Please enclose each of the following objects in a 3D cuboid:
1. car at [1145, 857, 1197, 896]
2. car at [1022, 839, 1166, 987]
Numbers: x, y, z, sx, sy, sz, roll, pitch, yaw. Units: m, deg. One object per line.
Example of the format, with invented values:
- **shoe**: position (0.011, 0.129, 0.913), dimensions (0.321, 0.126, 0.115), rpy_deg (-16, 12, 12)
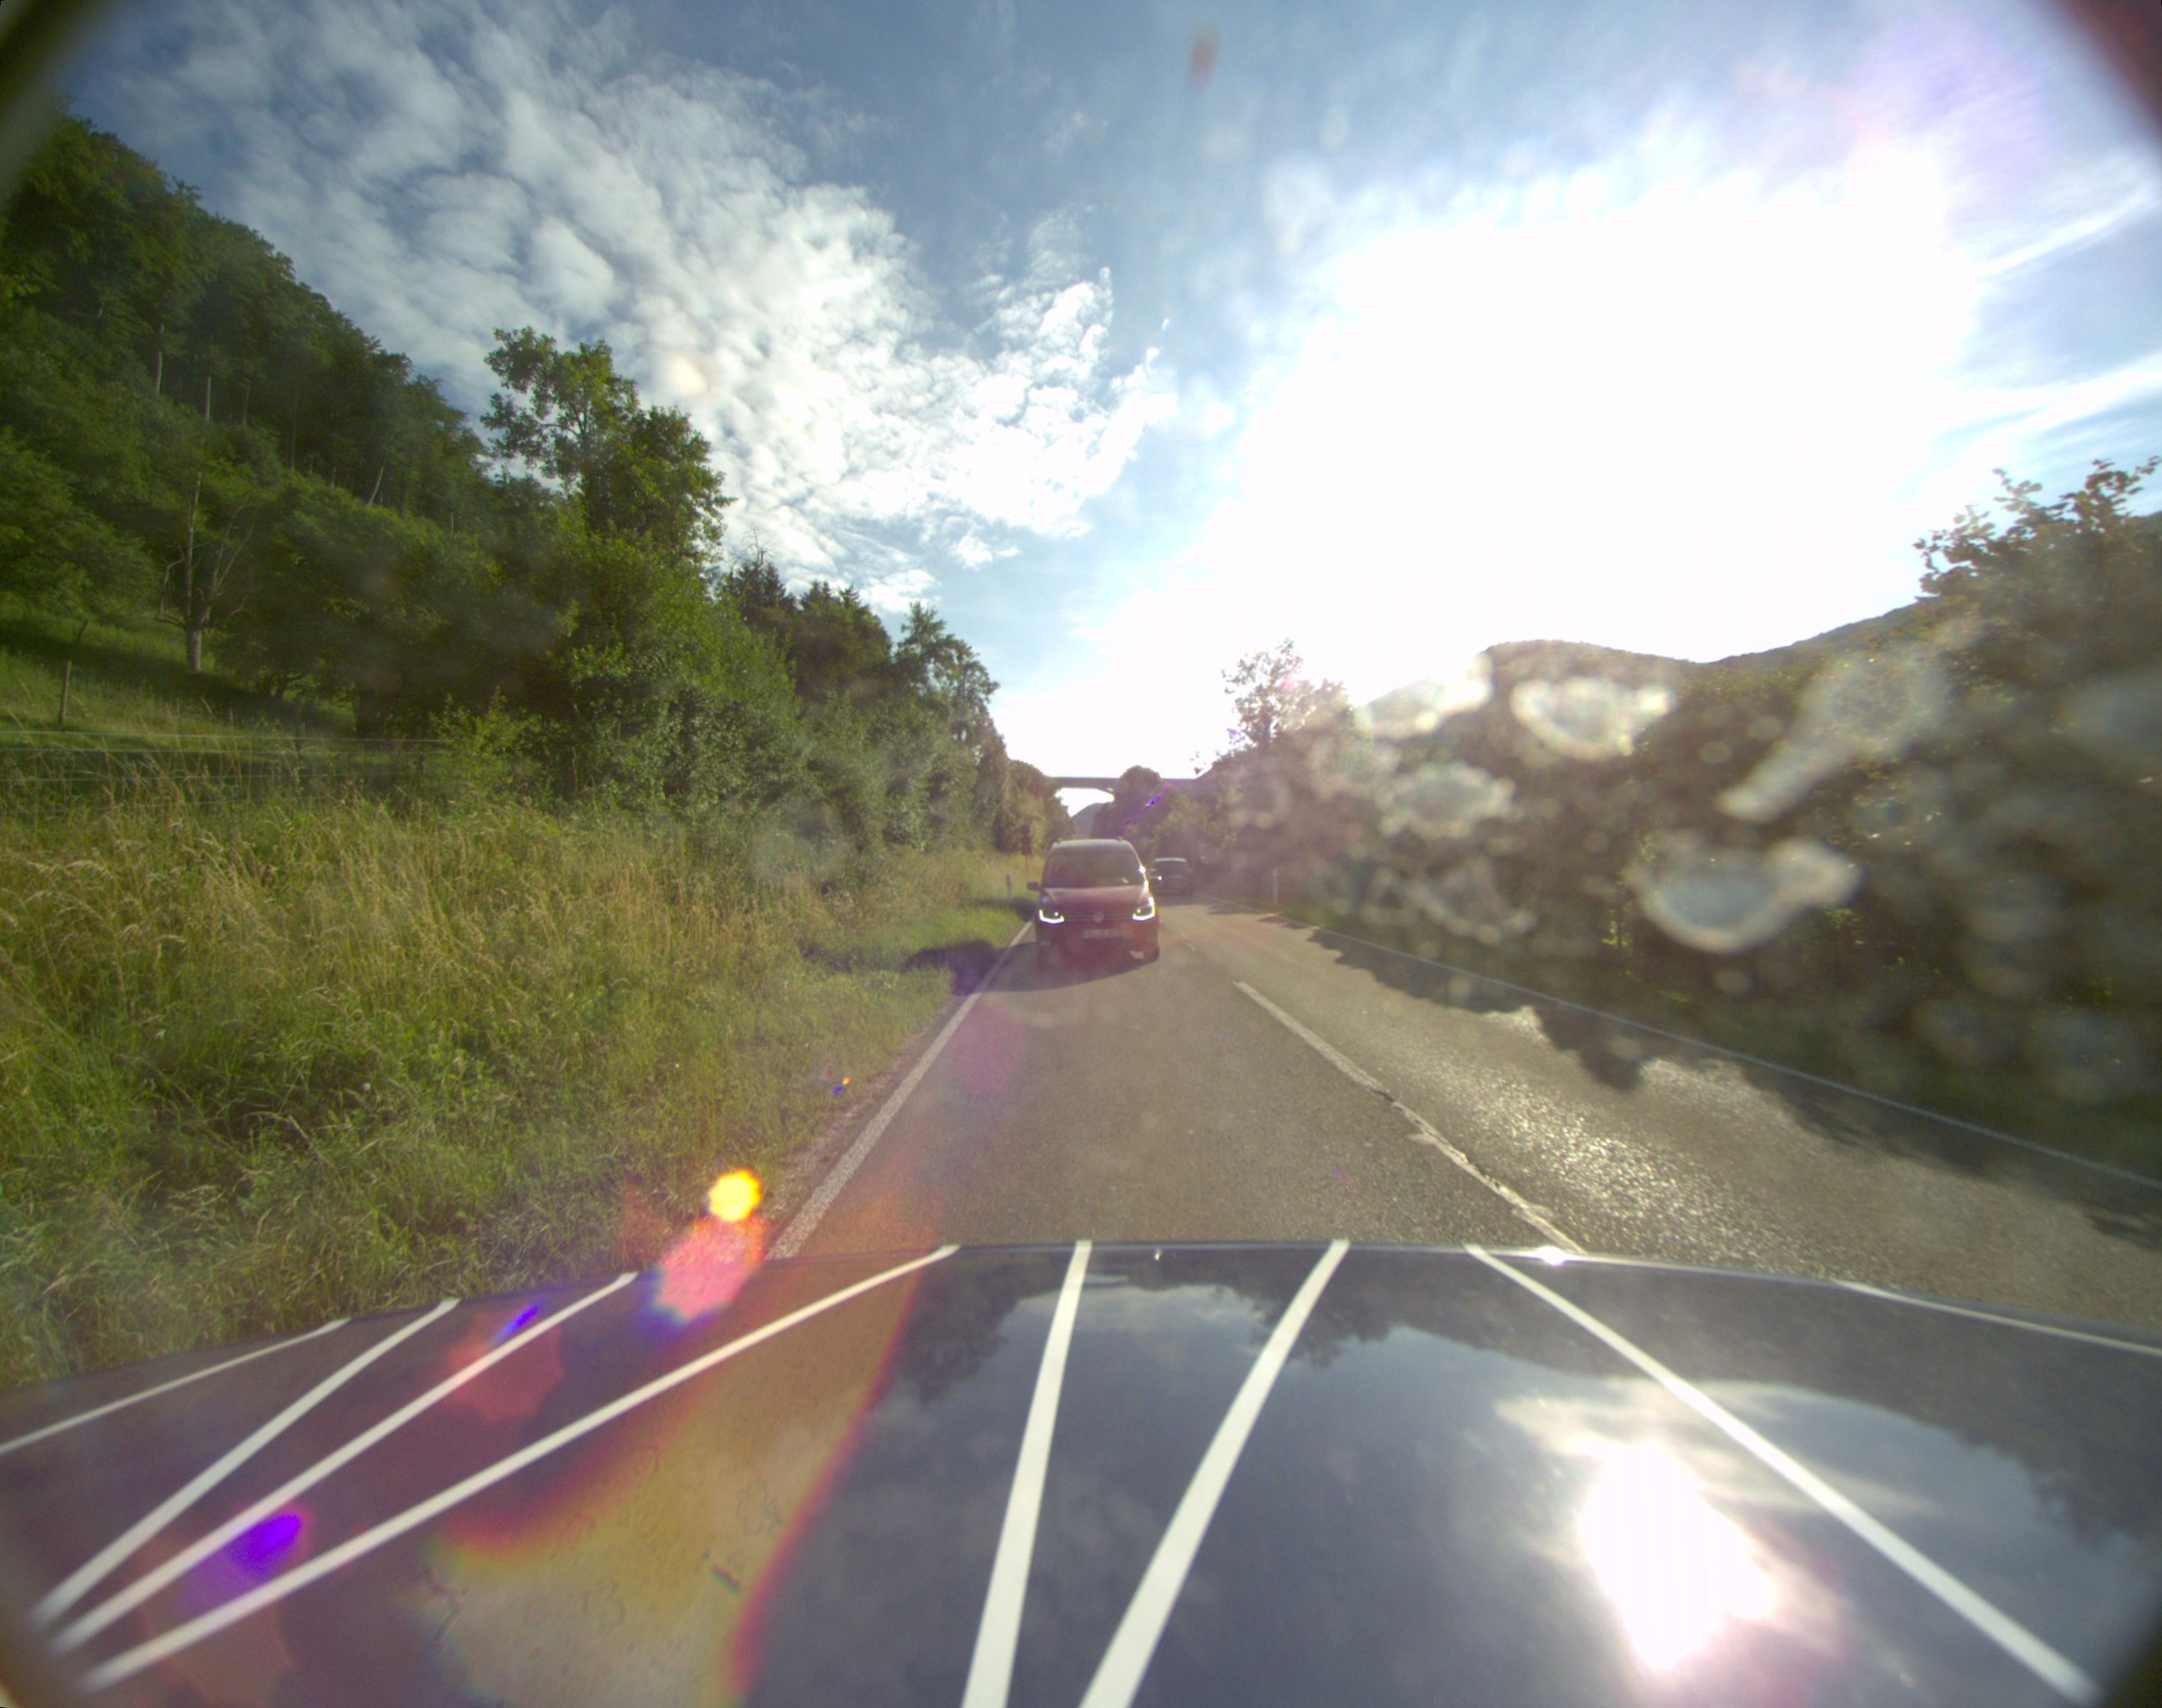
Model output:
- **car**: position (3.486, 0.840, 30.049), dimensions (1.631, 1.407, 3.789), rpy_deg (0, 1, 0)
- **car**: position (0.176, 0.727, 11.749), dimensions (1.753, 1.800, 4.287), rpy_deg (-2, 1, 0)
